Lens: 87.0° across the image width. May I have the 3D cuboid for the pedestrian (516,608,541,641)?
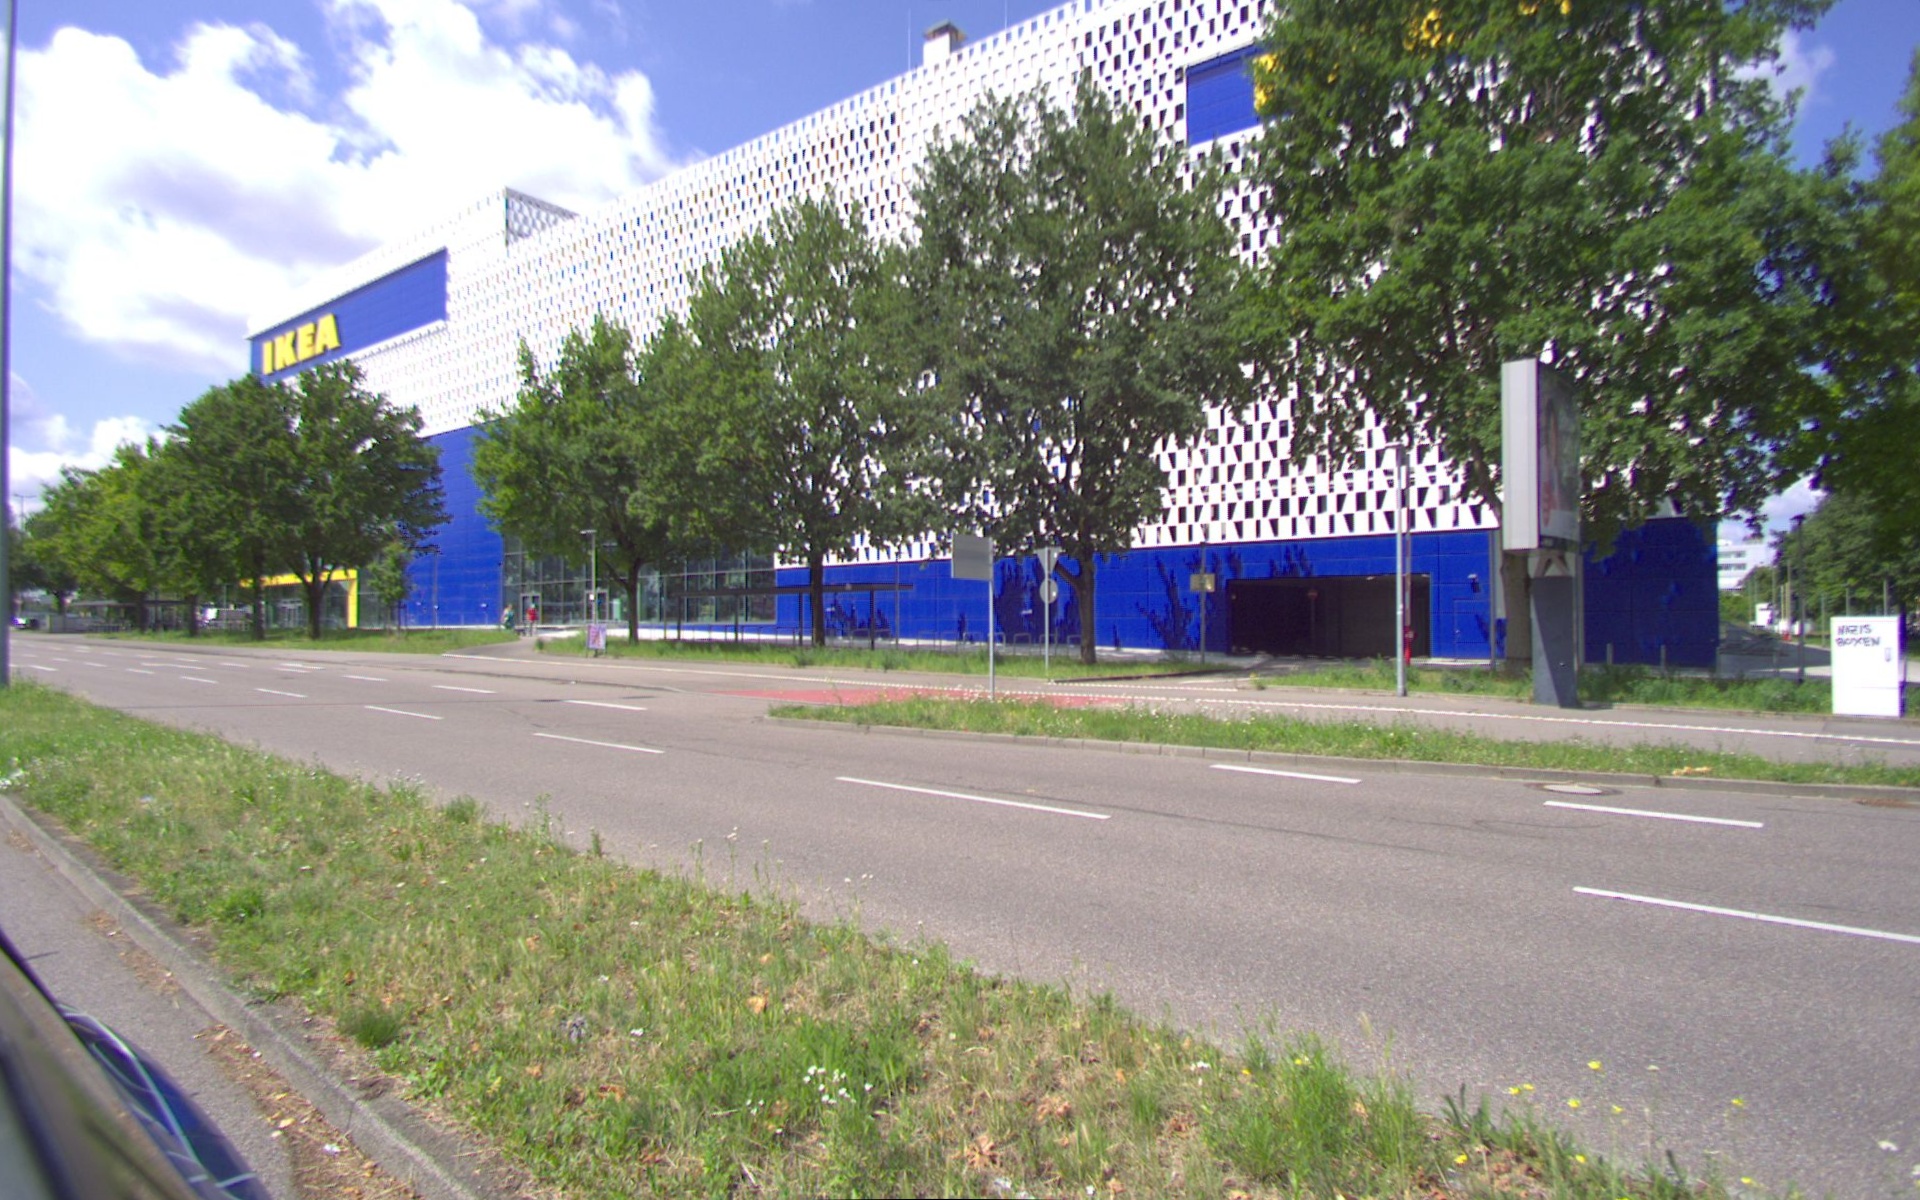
[{"bbox_3d":[-23.451,1.318,55.013,1.165,1.741,0.842,0,0,43],"label":"pedestrian"}]

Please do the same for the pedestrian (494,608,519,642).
[{"bbox_3d":[-24.255,1.330,54.145,1.165,1.741,0.842,0,0,43],"label":"pedestrian"}]
